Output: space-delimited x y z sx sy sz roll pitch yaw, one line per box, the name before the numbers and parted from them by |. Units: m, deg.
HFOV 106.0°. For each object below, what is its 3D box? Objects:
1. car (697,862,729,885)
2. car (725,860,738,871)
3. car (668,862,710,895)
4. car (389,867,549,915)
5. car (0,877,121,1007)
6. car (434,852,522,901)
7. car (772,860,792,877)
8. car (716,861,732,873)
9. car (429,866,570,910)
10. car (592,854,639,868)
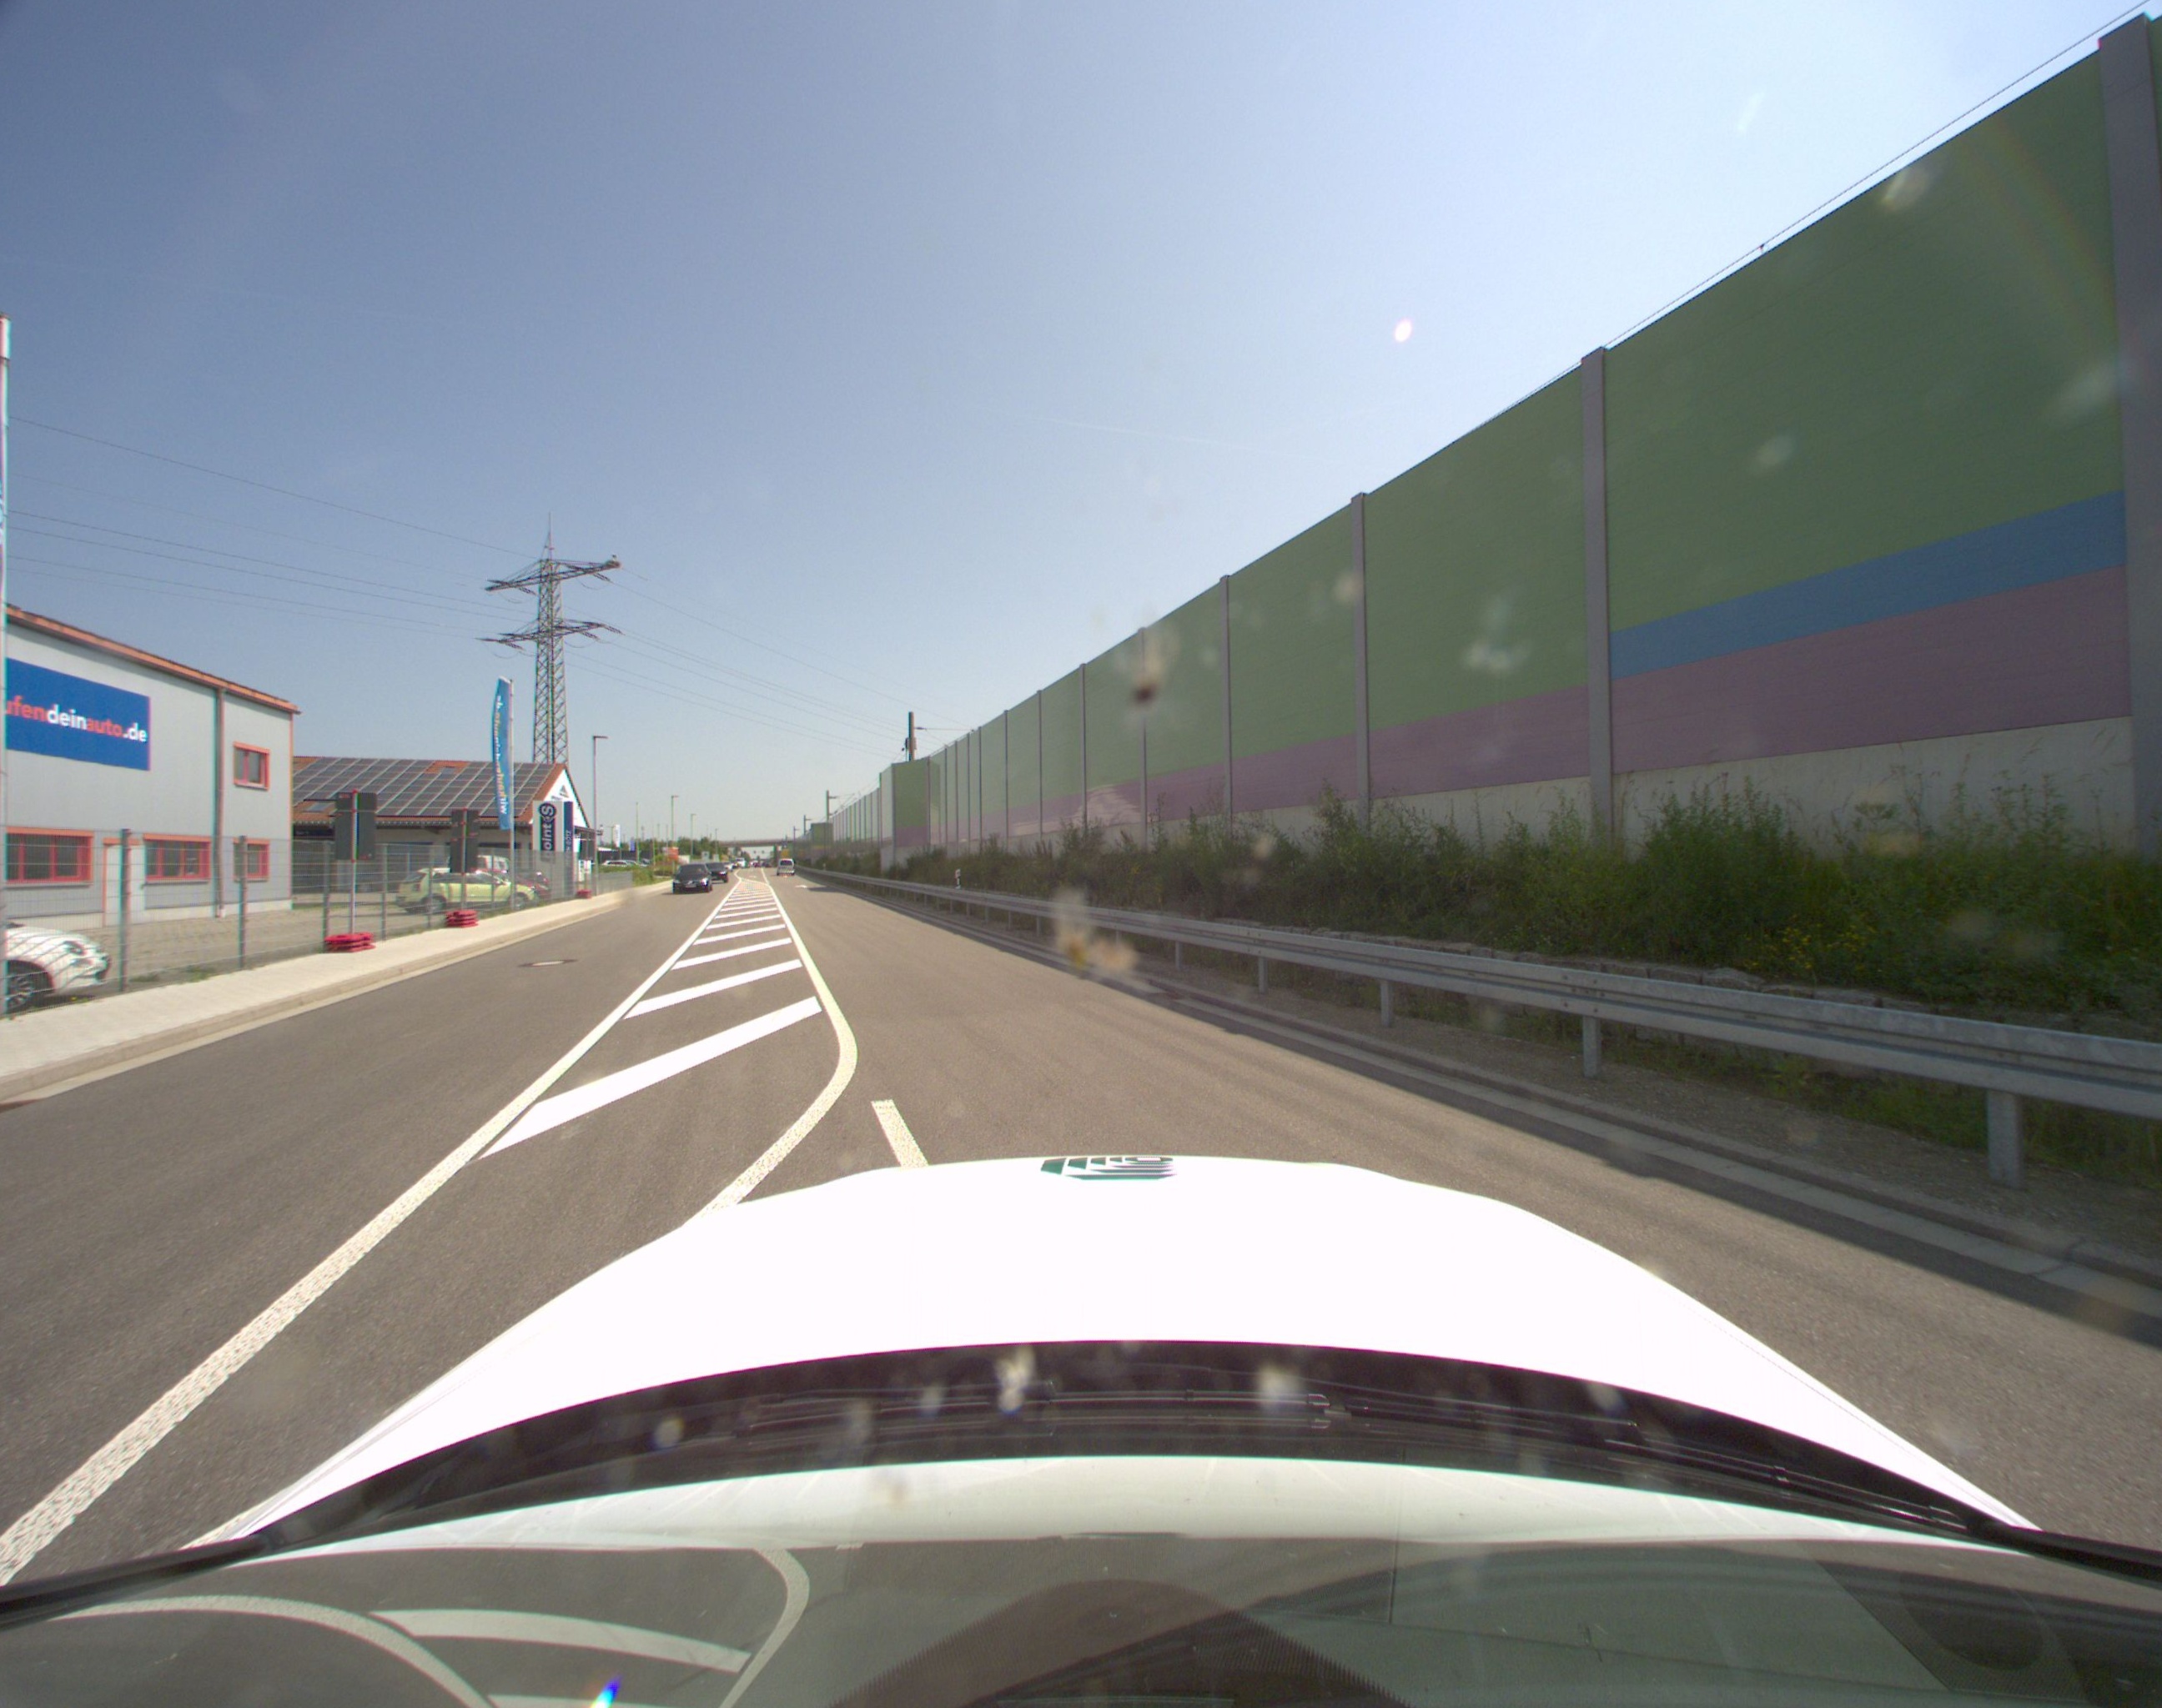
car | -28.540 1.456 63.287 1.888 1.616 4.490 -3 1 -21
car | -54.200 1.711 126.218 1.675 1.600 3.943 -3 0 -22
car | -21.245 1.297 44.268 1.749 1.593 3.768 -3 1 -22
car | -21.277 1.231 28.468 1.721 1.493 4.119 -1 0 33
car | -13.577 1.041 9.173 1.570 1.464 3.508 -1 -1 43
car | -27.475 1.005 37.275 2.001 2.014 4.647 -1 -1 -21
car | -32.217 1.529 87.784 2.000 1.757 3.973 -1 0 -20
car | -47.238 1.655 107.704 1.772 1.466 4.227 -3 1 -23
car | -22.066 1.230 31.062 1.721 1.493 4.026 -1 0 35
car | -50.791 0.778 88.979 4.242 1.456 1.750 2 -1 -24
